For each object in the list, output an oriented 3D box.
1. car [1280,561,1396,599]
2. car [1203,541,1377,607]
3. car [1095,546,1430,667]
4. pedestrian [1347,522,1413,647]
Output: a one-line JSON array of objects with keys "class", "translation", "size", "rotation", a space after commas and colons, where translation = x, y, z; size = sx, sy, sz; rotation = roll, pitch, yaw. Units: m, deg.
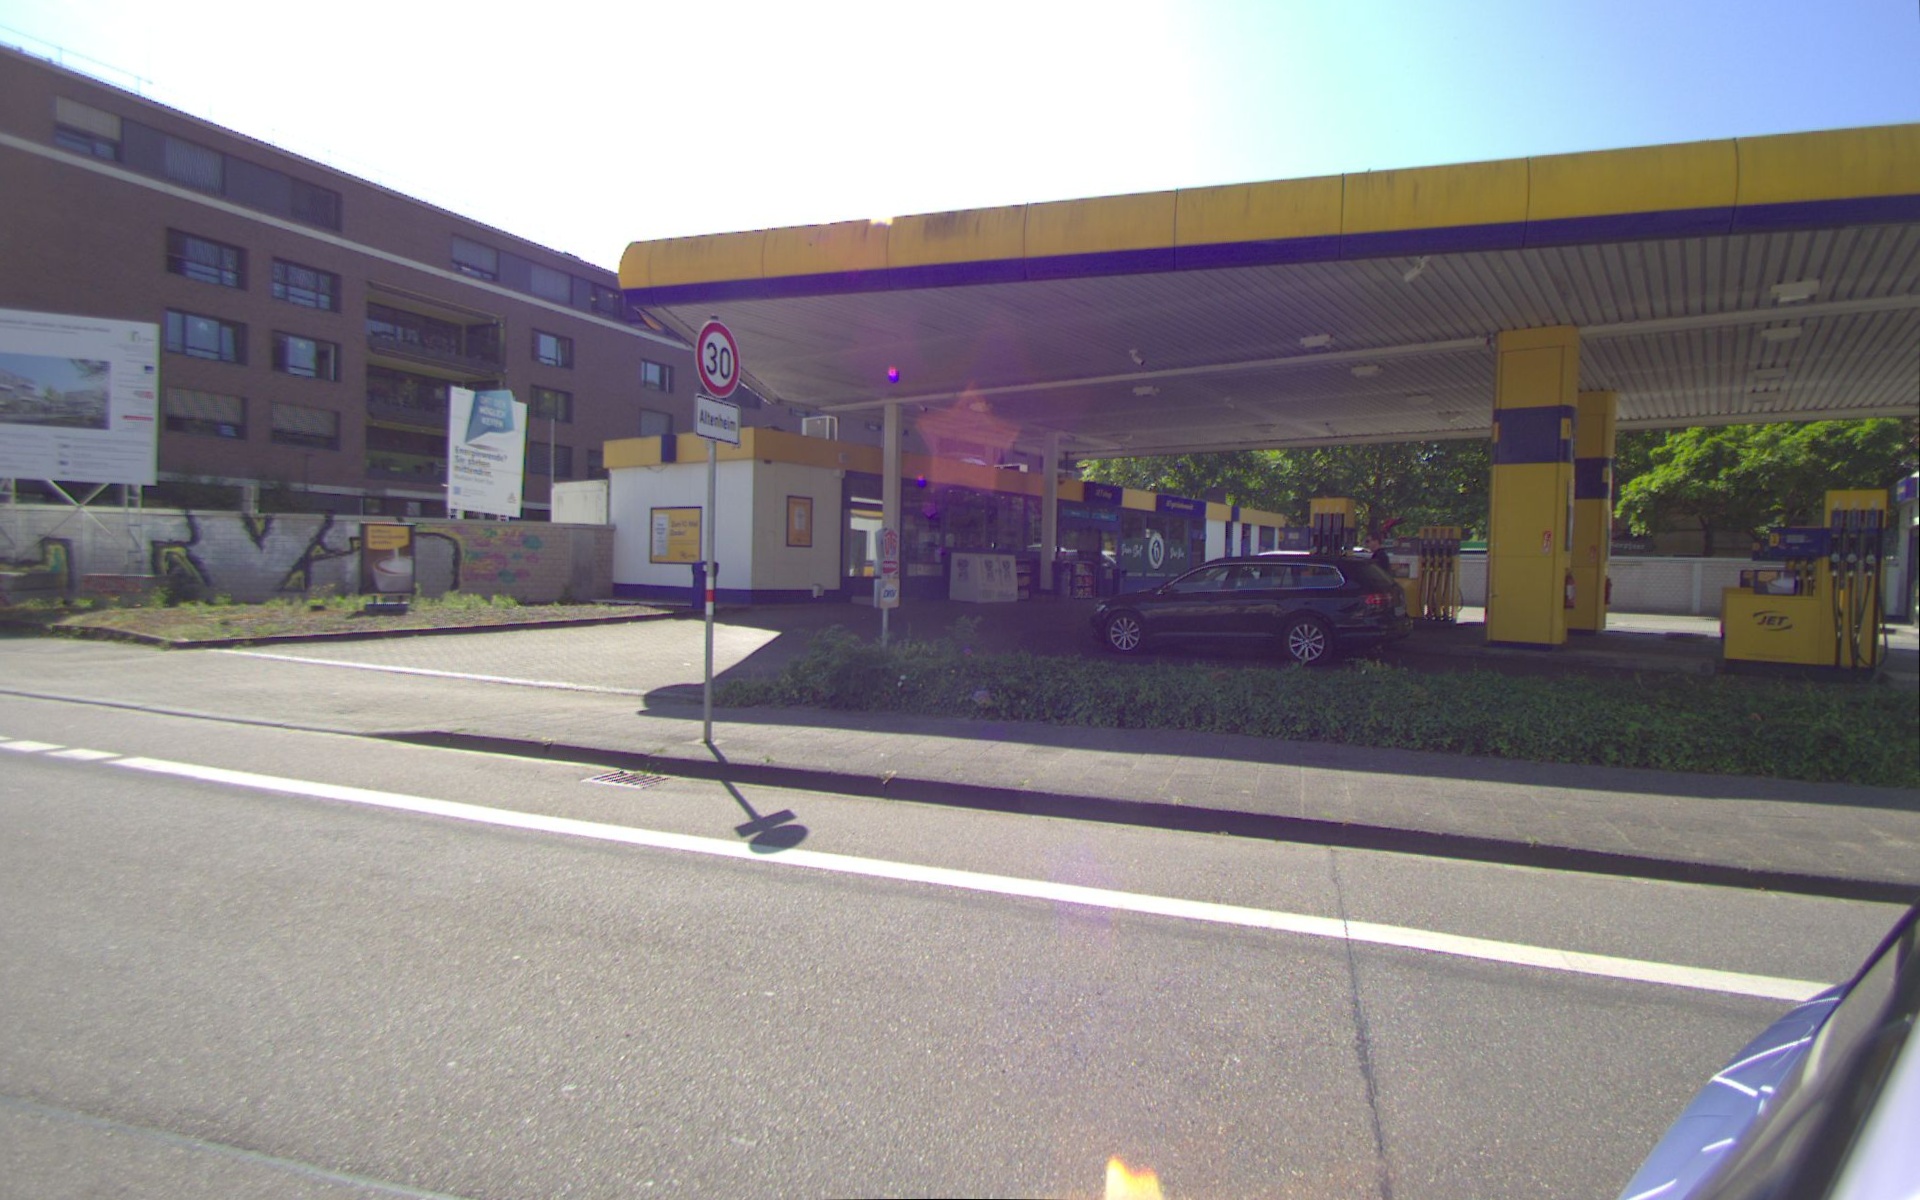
[{"class": "car", "translation": [15.345, -0.859, 41.126], "size": [4.108, 1.376, 1.739], "rotation": [3, 3, 36]}, {"class": "car", "translation": [11.005, -0.935, 33.965], "size": [5.272, 2.006, 1.740], "rotation": [3, 3, 34]}, {"class": "car", "translation": [4.328, -0.012, 14.825], "size": [4.385, 1.472, 1.739], "rotation": [2, 5, 37]}, {"class": "pedestrian", "translation": [6.121, -0.243, 14.781], "size": [0.735, 1.746, 0.855], "rotation": [2, 2, 16]}]
